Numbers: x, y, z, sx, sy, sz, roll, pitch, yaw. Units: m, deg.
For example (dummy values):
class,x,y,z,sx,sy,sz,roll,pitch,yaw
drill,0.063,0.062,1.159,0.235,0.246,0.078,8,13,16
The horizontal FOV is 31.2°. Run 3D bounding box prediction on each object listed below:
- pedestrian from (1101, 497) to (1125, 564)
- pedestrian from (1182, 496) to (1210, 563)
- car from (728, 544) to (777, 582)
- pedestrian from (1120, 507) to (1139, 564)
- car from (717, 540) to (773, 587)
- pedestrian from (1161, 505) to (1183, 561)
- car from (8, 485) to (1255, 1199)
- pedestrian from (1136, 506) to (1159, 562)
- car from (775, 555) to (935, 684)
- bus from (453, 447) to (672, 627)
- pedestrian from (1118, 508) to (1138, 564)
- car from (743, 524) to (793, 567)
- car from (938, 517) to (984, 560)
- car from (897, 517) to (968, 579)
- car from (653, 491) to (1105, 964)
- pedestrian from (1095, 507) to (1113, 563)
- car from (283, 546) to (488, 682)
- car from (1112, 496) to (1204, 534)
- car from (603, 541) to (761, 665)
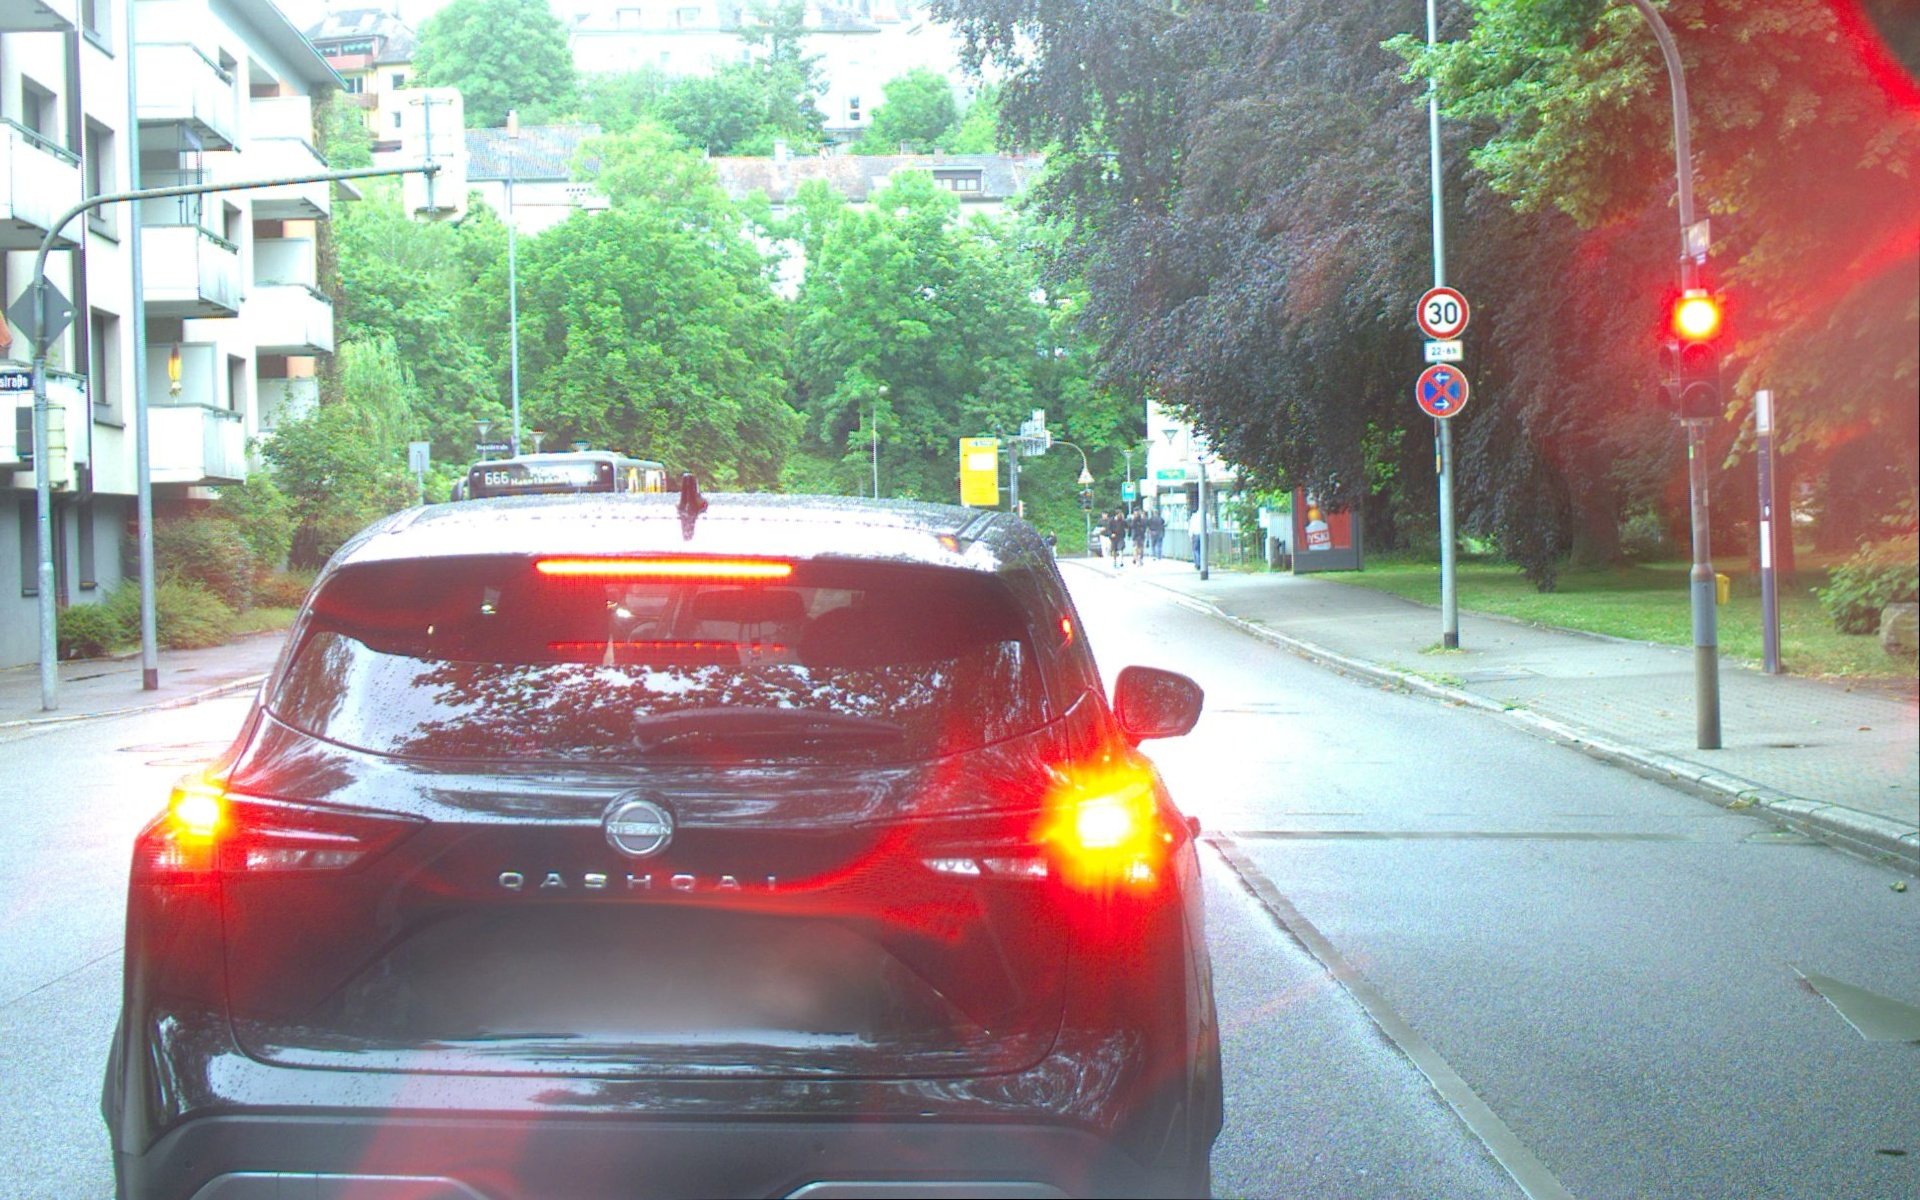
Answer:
class,x,y,z,sx,sy,sz,roll,pitch,yaw
pedestrian,5.014,-2.260,112.535,0.768,2.176,0.711,1,0,3
pedestrian,6.323,-1.889,92.197,0.618,1.773,0.778,-2,1,-1
car,-7.821,-1.411,129.606,1.676,1.291,3.752,-3,1,-2
pedestrian,4.944,-1.873,100.303,0.514,1.650,0.550,1,0,-1
car,-7.250,-1.237,116.196,1.676,1.464,4.217,-3,1,-2
pedestrian,6.818,-2.155,110.520,0.618,1.773,0.551,-2,1,-1
car,-0.505,0.617,7.022,1.806,1.584,4.000,1,1,-1
pedestrian,5.997,-2.103,109.865,0.618,1.773,0.551,-2,1,-1
car,-1.257,0.194,41.051,1.808,1.412,4.031,0,1,-2
bus,-7.196,-1.157,63.888,2.766,2.964,11.782,-2,1,-1
pedestrian,4.973,-1.907,101.871,0.544,1.645,0.490,1,0,0
car,-7.744,-2.212,138.960,1.750,1.628,3.635,-2,1,0
car,0.036,-2.478,137.848,1.750,1.628,3.635,-2,1,0
car,-0.658,-1.264,83.169,1.624,1.410,3.455,-2,1,0
car,-0.268,0.438,14.706,1.622,1.703,3.771,-2,1,1
pedestrian,4.268,-1.917,101.867,0.475,1.645,0.490,1,0,0
car,-6.777,0.124,40.930,1.808,1.412,4.031,-3,1,-2
car,9.447,-4.049,164.242,3.986,1.678,2.001,-2,1,-10
car,-3.405,0.008,42.593,1.624,1.410,3.455,-2,1,0
